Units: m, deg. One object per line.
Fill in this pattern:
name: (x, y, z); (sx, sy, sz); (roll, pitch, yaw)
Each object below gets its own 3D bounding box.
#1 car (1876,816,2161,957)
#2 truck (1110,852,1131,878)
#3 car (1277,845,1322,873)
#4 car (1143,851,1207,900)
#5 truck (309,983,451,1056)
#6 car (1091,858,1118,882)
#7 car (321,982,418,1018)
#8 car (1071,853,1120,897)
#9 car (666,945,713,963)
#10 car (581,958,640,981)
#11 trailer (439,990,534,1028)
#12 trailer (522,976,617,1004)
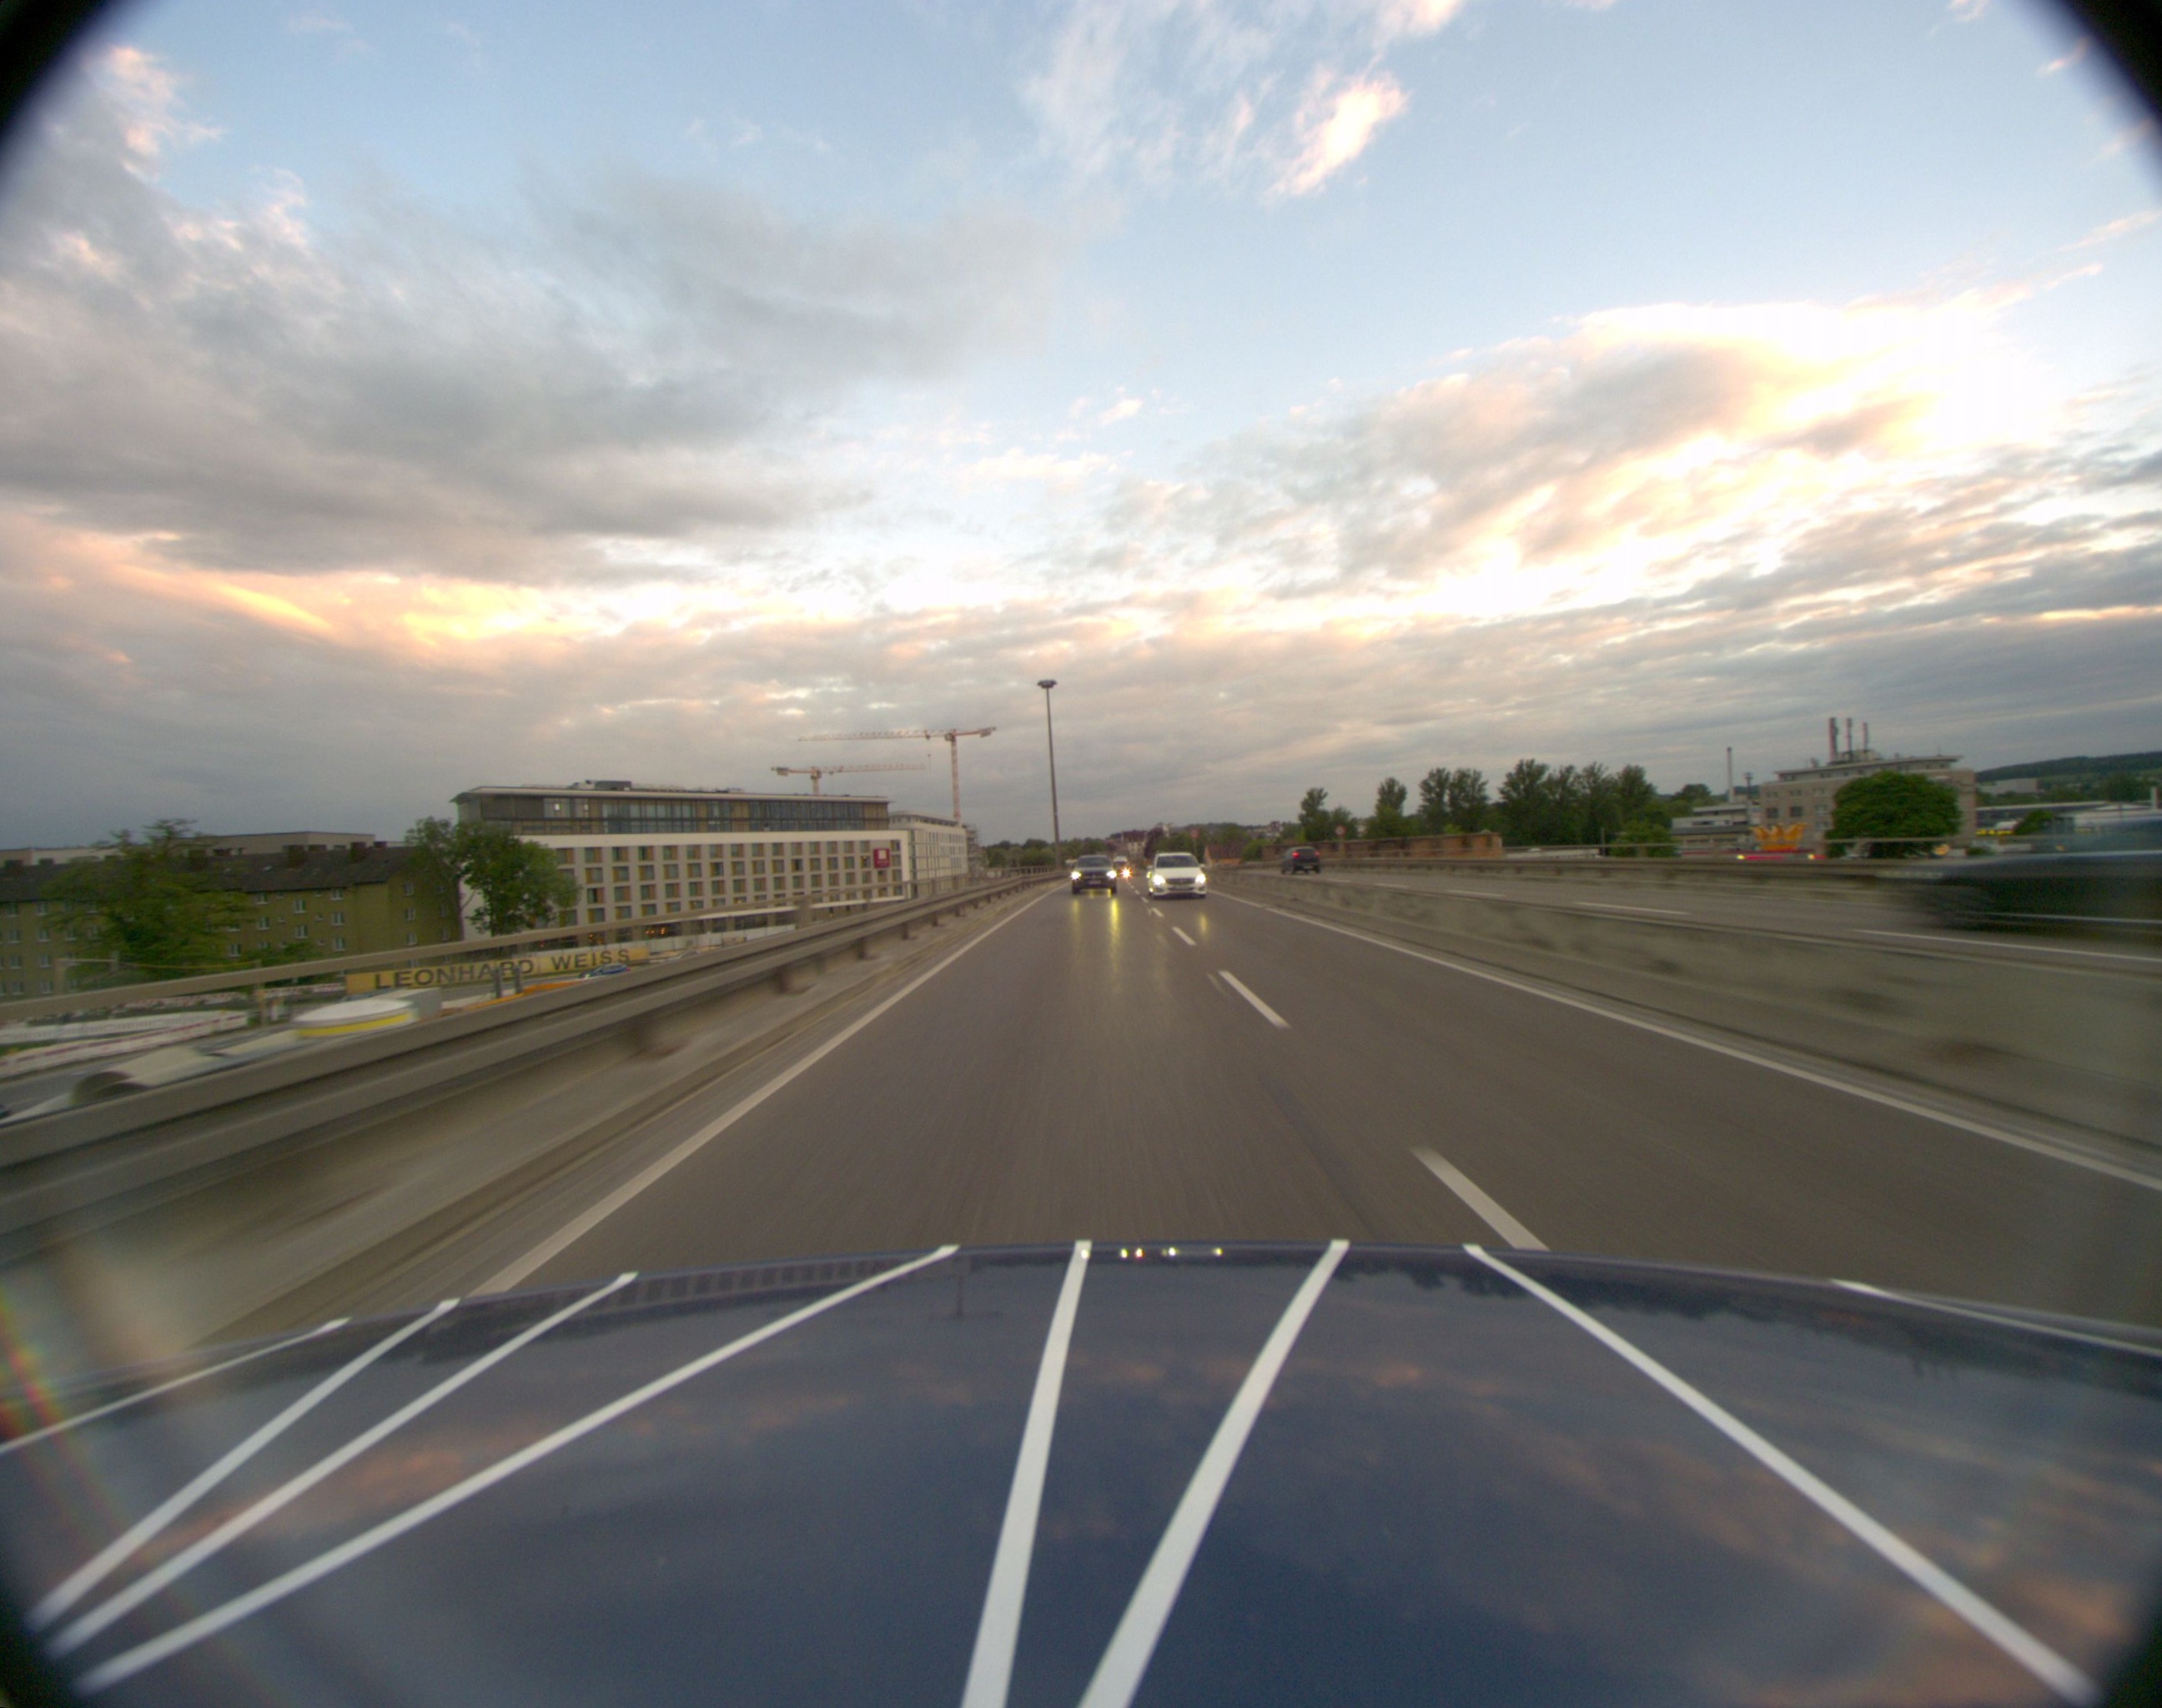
car: (12.095, 0.308, 8.205); (1.833, 1.465, 4.901); (-2, -1, -1)
truck: (7.131, 1.841, 136.757); (3.164, 4.369, 8.796); (-2, 0, 6)
car: (13.299, 0.251, 46.432); (1.661, 1.584, 4.043); (-2, 1, 2)
car: (3.239, 0.721, 27.036); (1.695, 1.528, 4.784); (-2, -1, 1)
truck: (-43.358, 10.135, 47.357); (2.163, 2.930, 7.335); (-5, -1, -4)
car: (1.753, 1.205, 56.185); (1.891, 1.641, 4.345); (-3, -1, 2)
car: (-53.312, 10.916, 57.012); (1.995, 1.866, 5.103); (-4, -3, 42)
car: (0.619, 0.809, 30.902); (1.823, 1.602, 4.214); (-2, 0, 2)
car: (-42.413, 10.840, 82.413); (1.908, 1.433, 4.008); (-6, -2, 43)
car: (-44.462, 10.891, 71.873); (4.602, 1.608, 1.996); (-2, -4, -35)
trailer: (-42.933, 11.207, 55.138); (1.998, 1.339, 5.874); (-8, -1, 1)
trailer: (-40.523, 10.797, 60.378); (5.877, 1.340, 2.024); (-2, 1, -18)
